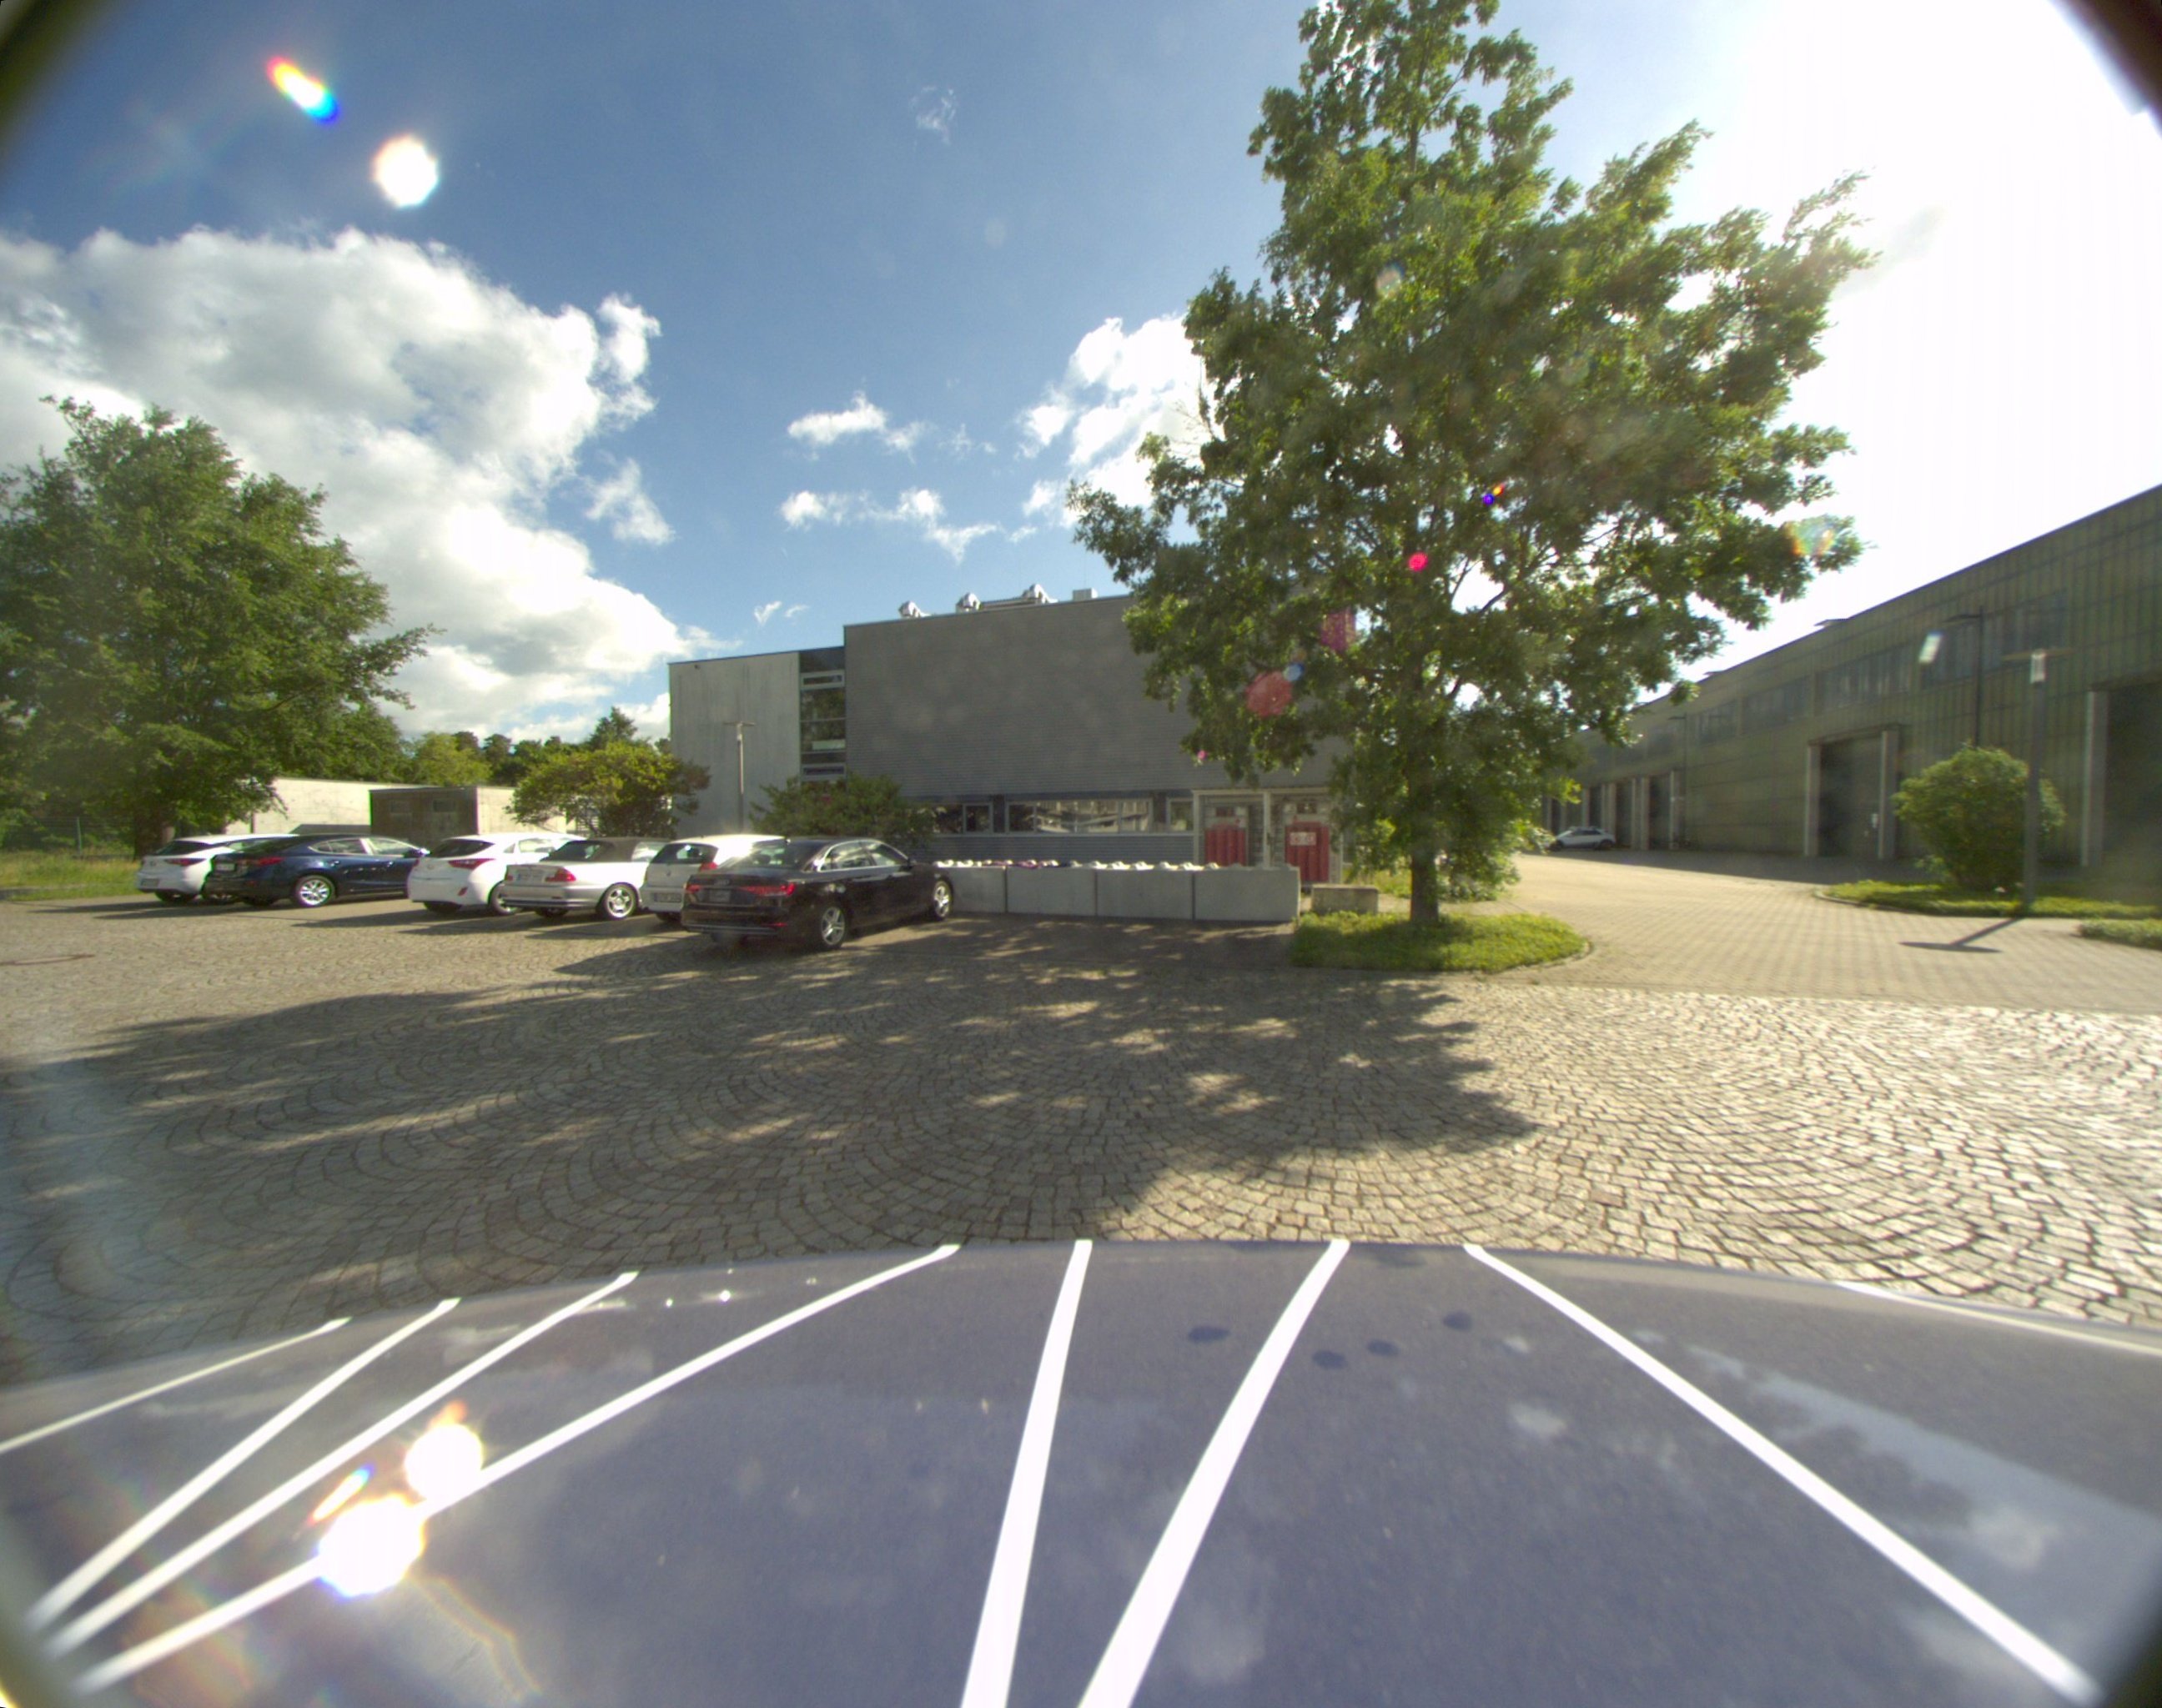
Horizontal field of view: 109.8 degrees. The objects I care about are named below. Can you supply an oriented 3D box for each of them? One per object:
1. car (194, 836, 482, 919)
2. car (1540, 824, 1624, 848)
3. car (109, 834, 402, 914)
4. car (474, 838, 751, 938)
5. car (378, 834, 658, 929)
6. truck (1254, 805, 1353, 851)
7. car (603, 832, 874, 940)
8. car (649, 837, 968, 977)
[{"bbox_3d":[-15.420,0.389,16.083,1.688,1.410,3.929,0,3,20],"label":"car"},{"bbox_3d":[35.556,-1.310,54.044,4.570,1.654,2.002,0,2,18],"label":"car"},{"bbox_3d":[-17.974,0.347,16.832,1.791,1.428,3.929,0,3,20],"label":"car"},{"bbox_3d":[-8.085,0.475,13.575,1.724,1.364,3.929,0,3,20],"label":"car"},{"bbox_3d":[-10.466,0.396,14.524,1.751,1.439,3.929,0,3,20],"label":"car"},{"bbox_3d":[19.235,-2.215,65.815,8.085,3.796,2.653,0,2,19],"label":"truck"},{"bbox_3d":[-5.649,0.402,13.165,1.687,1.452,4.156,1,4,24],"label":"car"},{"bbox_3d":[-3.516,0.543,10.989,1.753,1.415,4.738,0,3,18],"label":"car"}]
